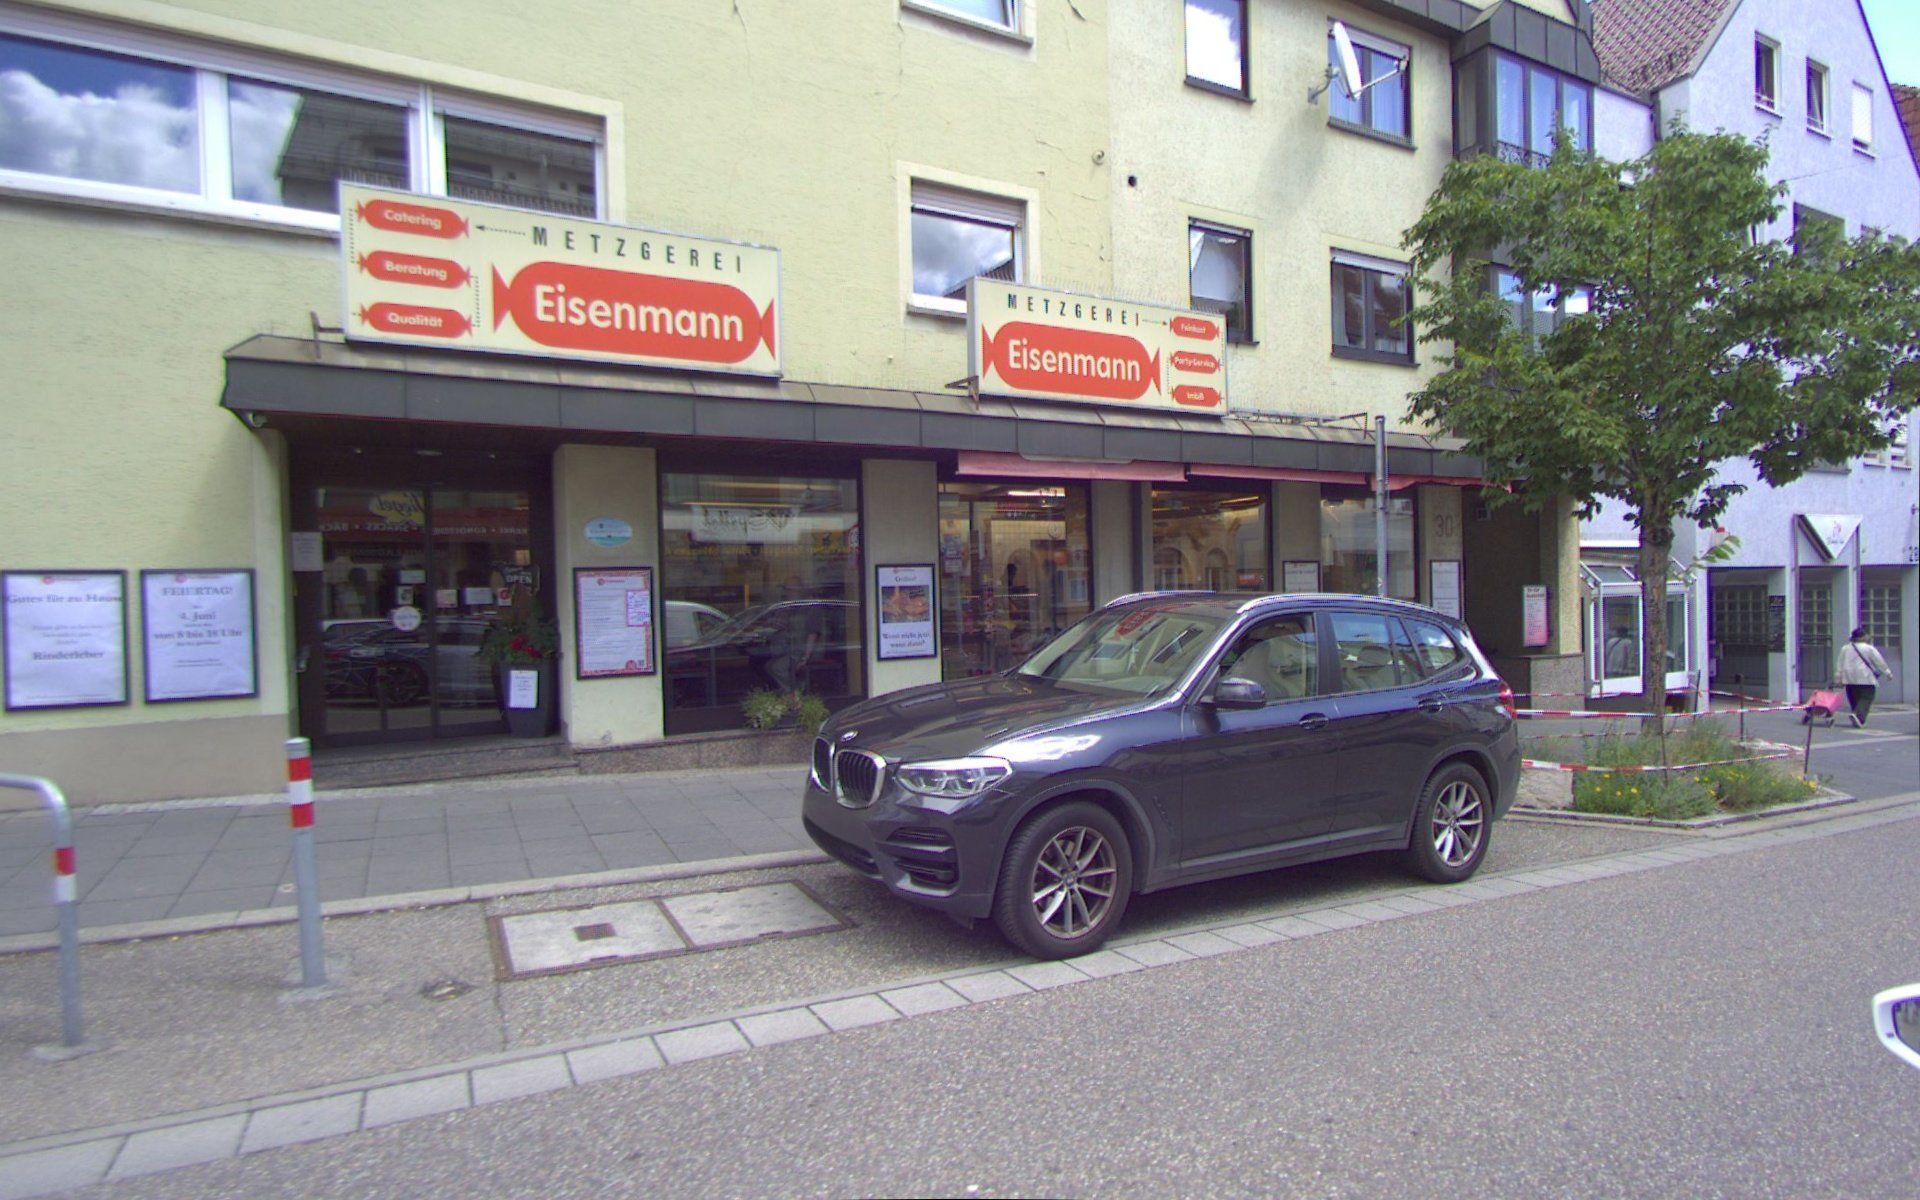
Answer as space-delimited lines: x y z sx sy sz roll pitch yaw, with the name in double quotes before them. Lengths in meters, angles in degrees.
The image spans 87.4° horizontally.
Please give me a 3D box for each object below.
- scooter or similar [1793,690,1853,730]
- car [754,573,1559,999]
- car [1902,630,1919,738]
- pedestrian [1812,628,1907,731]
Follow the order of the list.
"scooter or similar" 13.112 1.669 15.265 0.566 0.526 0.522 2 1 -30
"car" 1.284 0.763 6.042 4.552 1.716 1.997 1 1 -30
"car" 15.984 1.283 14.700 4.786 1.512 1.917 2 1 -31
"pedestrian" 13.827 1.202 15.447 0.800 1.483 0.822 2 1 -30
